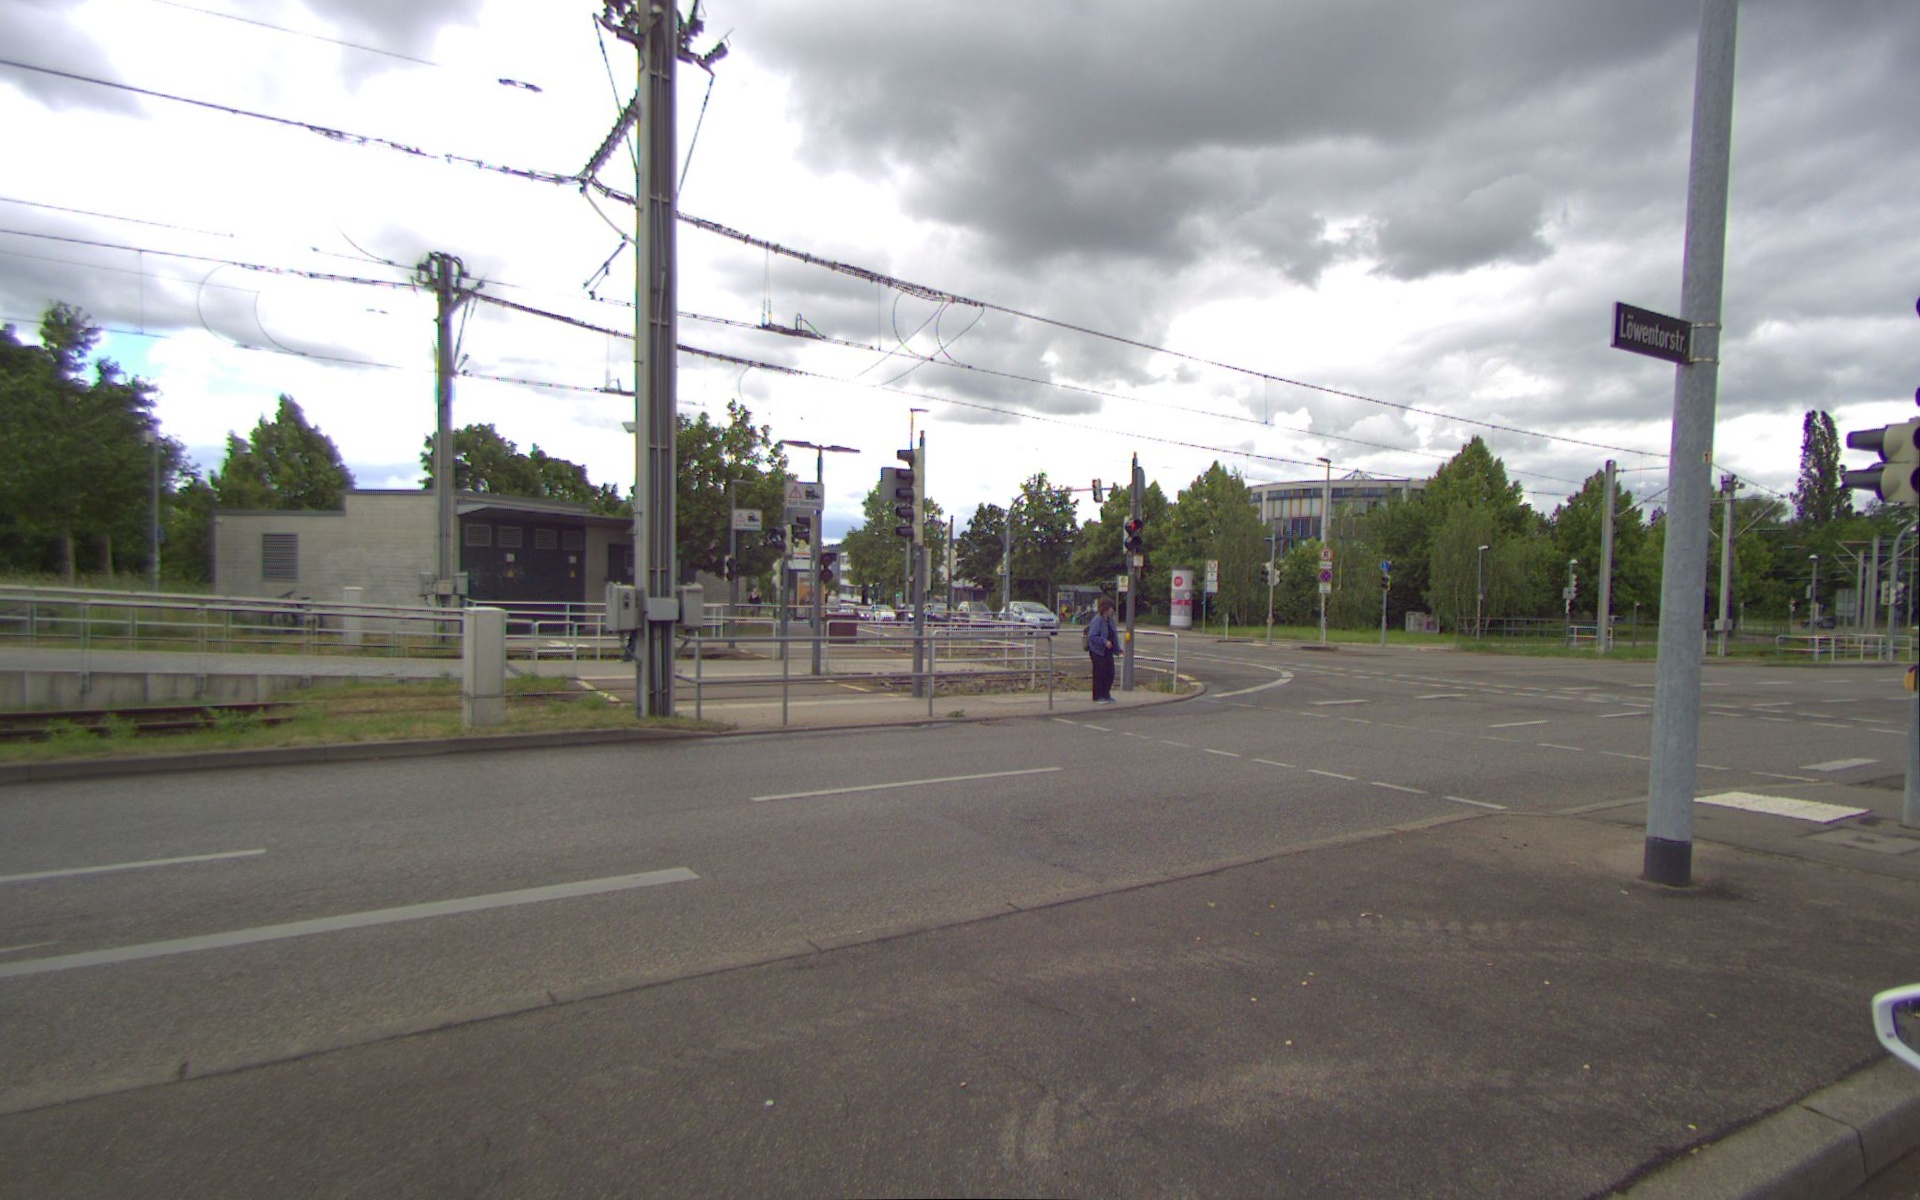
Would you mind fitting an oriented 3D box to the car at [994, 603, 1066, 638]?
[{"bbox_3d":[3.216,0.933,47.084,1.805,1.556,4.199,1,0,-21],"label":"car"}]

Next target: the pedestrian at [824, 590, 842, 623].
[{"bbox_3d":[-5.529,0.282,43.724,0.543,1.382,0.769,1,0,-24],"label":"pedestrian"}]

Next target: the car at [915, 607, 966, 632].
[{"bbox_3d":[-1.195,1.127,58.180,1.777,1.350,4.362,1,0,-18],"label":"car"}]

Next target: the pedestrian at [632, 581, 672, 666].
[{"bbox_3d":[-5.893,0.446,19.233,0.539,1.593,0.560,4,-1,-31],"label":"pedestrian"}]

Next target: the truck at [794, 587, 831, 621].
[{"bbox_3d":[-16.020,0.405,108.687,2.670,3.533,9.960,0,0,-16],"label":"truck"}]

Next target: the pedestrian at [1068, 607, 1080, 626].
[{"bbox_3d":[8.267,1.190,72.942,0.718,1.333,0.587,1,0,-15],"label":"pedestrian"}]

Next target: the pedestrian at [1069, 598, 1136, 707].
[{"bbox_3d":[2.070,0.749,14.681,0.661,1.550,0.711,1,0,-25],"label":"pedestrian"}]

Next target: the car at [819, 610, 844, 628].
[{"bbox_3d":[-12.045,1.786,93.944,1.618,1.607,4.046,0,0,-17],"label":"car"}]

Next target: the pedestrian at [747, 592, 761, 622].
[{"bbox_3d":[-11.712,0.400,57.167,0.539,1.692,0.639,1,0,10],"label":"pedestrian"}]

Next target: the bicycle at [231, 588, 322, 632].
[{"bbox_3d":[-18.420,0.266,27.089,2.210,1.120,0.679,2,0,12],"label":"bicycle"}]

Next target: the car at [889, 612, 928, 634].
[{"bbox_3d":[-3.368,1.454,65.129,1.618,1.350,4.046,1,0,-17],"label":"car"}]

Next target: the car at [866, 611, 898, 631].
[{"bbox_3d":[-5.816,1.567,74.827,1.618,1.409,3.748,1,0,-17],"label":"car"}]

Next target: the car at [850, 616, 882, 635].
[{"bbox_3d":[-7.589,2.039,80.360,1.618,1.409,4.867,1,0,-17],"label":"car"}]

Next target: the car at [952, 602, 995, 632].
[{"bbox_3d":[0.687,0.890,53.290,1.411,1.547,2.763,0,0,-19],"label":"car"}]

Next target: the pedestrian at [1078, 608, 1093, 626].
[{"bbox_3d":[8.900,1.199,71.371,0.759,1.269,0.774,1,0,32],"label":"pedestrian"}]

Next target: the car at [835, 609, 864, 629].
[{"bbox_3d":[-9.574,1.608,86.877,1.708,1.607,4.208,0,0,-17],"label":"car"}]
